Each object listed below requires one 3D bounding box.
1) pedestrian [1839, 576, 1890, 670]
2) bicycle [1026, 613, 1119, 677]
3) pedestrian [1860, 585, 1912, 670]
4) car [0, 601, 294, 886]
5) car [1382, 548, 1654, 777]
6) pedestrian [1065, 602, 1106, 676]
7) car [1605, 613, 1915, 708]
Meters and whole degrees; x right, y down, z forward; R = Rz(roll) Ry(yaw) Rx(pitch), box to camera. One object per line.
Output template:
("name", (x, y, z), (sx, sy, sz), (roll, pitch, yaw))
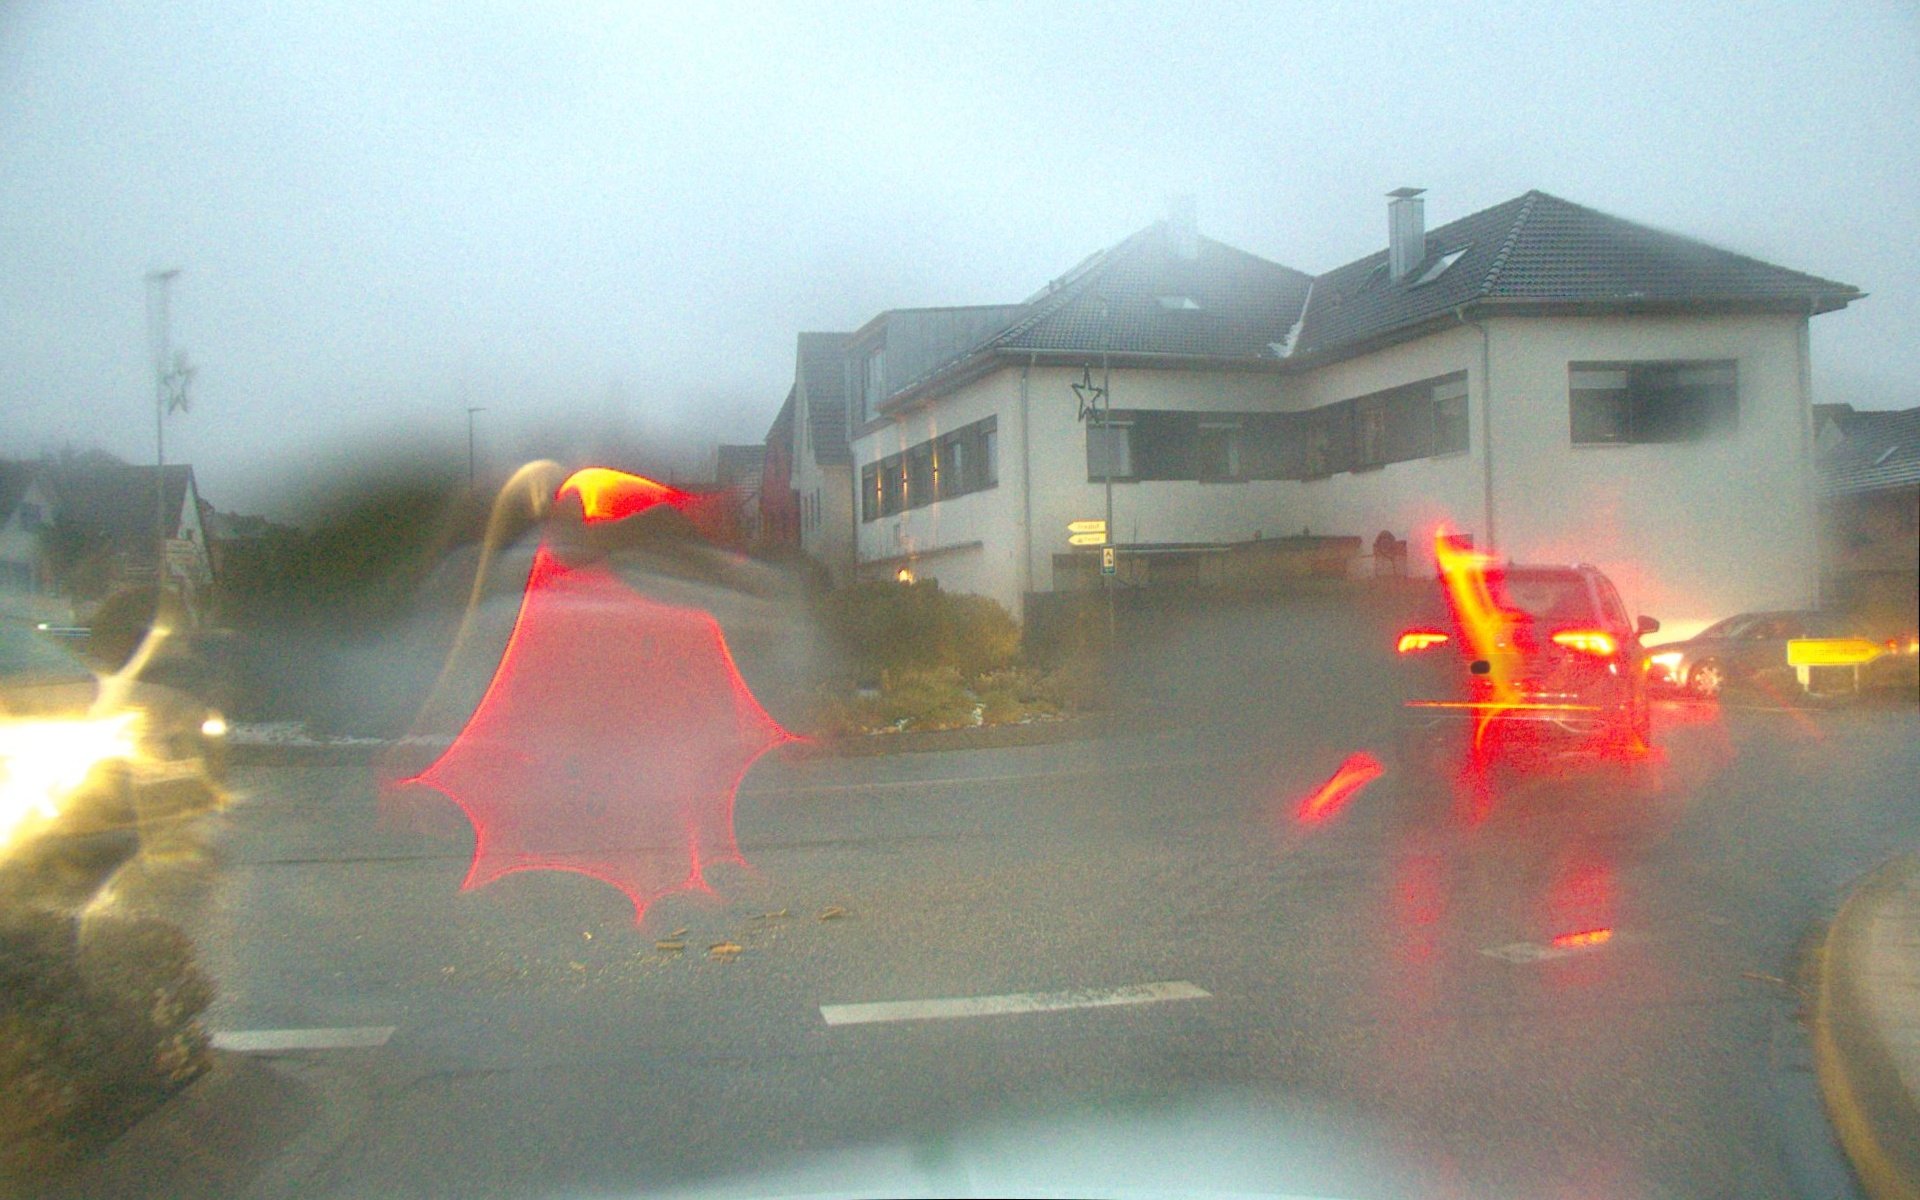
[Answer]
("pedestrian", (18.357, 0.457, 33.582), (0.700, 1.864, 0.638), (-1, 1, 6))
("bicycle", (2.426, 0.971, 35.599), (1.897, 1.318, 0.551), (-1, 1, 25))
("pedestrian", (18.353, 0.539, 32.800), (0.700, 1.649, 0.583), (-1, 0, 6))
("car", (-6.258, 0.780, 10.140), (3.917, 1.446, 1.716), (-1, 1, 22))
("car", (4.799, 0.456, 14.092), (1.876, 1.643, 3.951), (-1, 0, 21))
("pedestrian", (2.732, 0.841, 35.947), (0.676, 1.592, 0.610), (-1, 0, 25))
("car", (12.911, 0.992, 26.822), (4.139, 1.408, 1.848), (-1, -3, -6))
